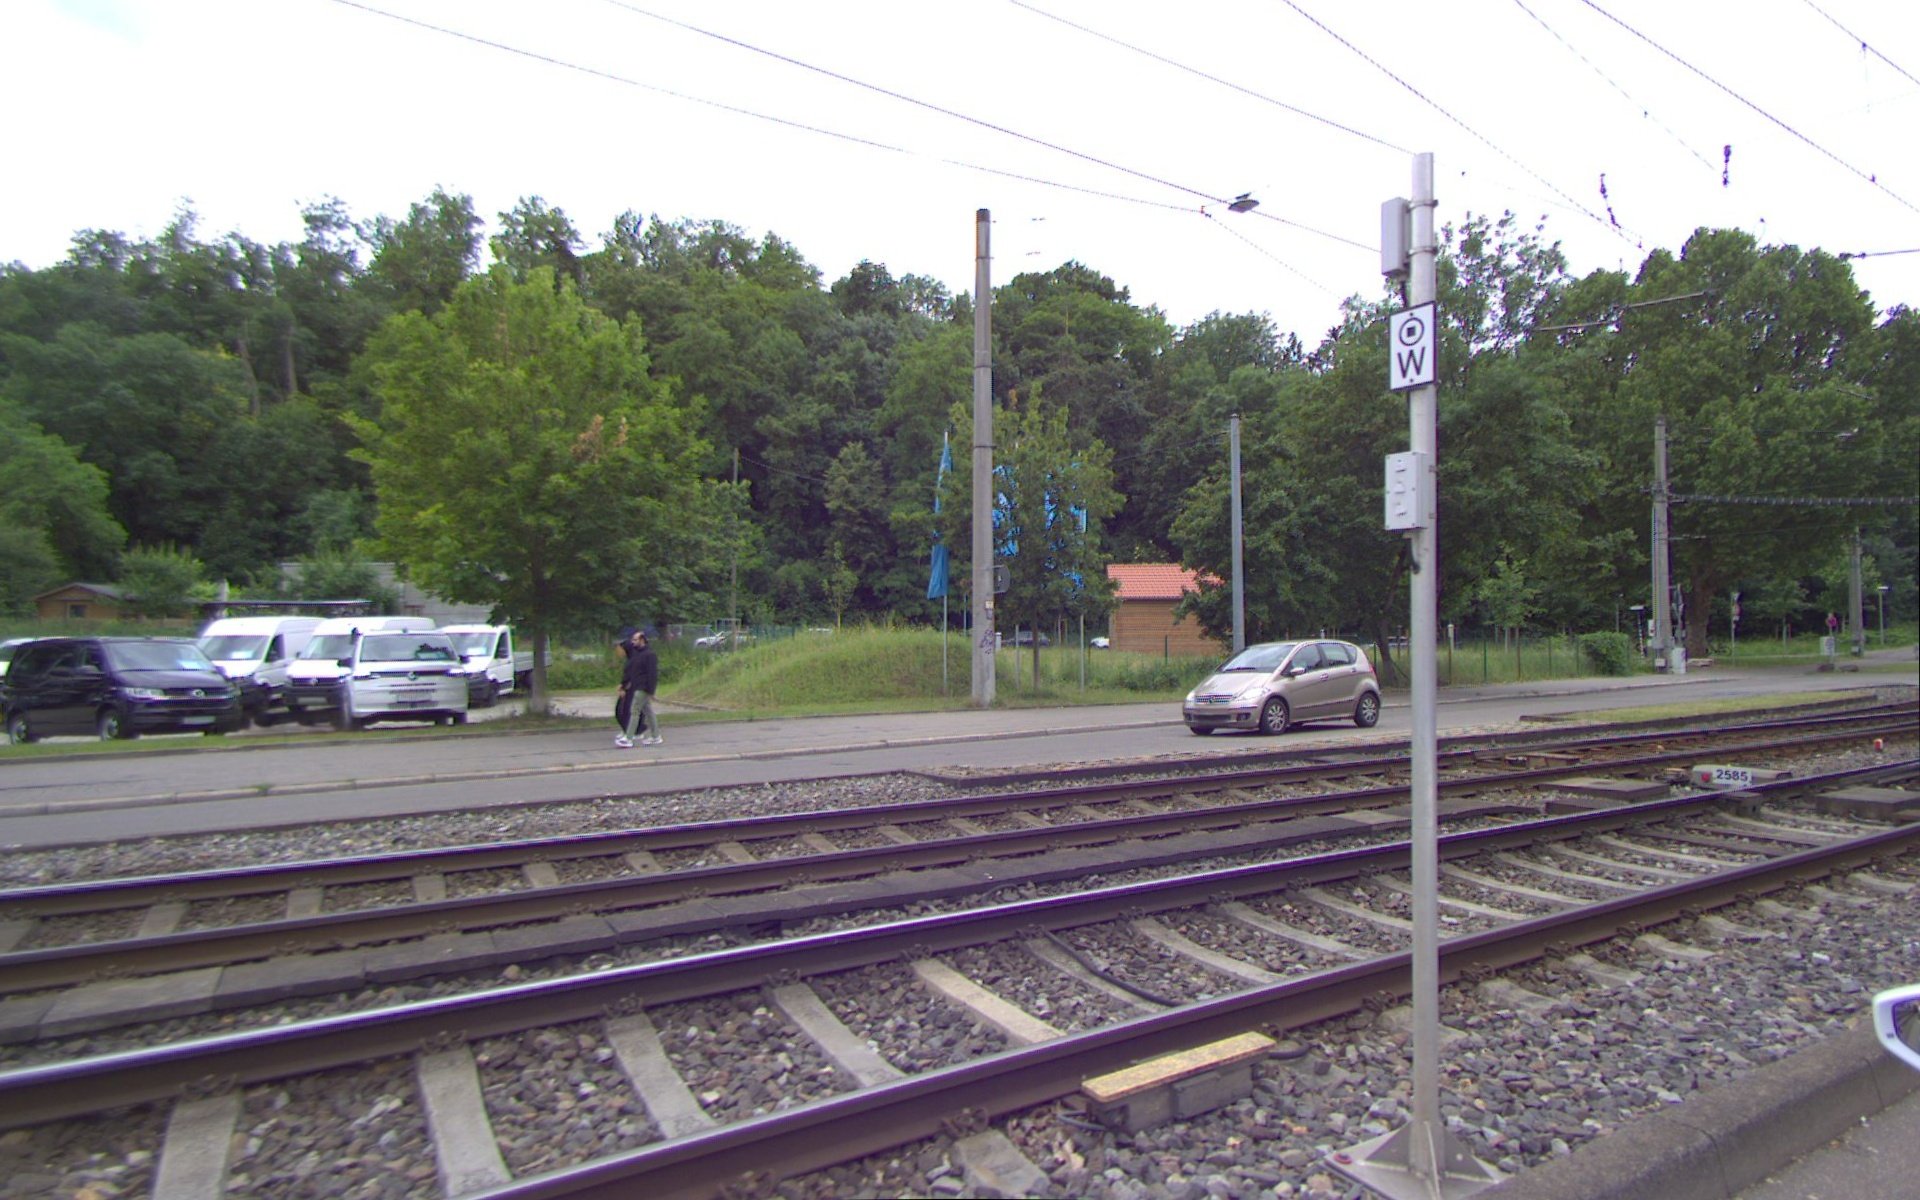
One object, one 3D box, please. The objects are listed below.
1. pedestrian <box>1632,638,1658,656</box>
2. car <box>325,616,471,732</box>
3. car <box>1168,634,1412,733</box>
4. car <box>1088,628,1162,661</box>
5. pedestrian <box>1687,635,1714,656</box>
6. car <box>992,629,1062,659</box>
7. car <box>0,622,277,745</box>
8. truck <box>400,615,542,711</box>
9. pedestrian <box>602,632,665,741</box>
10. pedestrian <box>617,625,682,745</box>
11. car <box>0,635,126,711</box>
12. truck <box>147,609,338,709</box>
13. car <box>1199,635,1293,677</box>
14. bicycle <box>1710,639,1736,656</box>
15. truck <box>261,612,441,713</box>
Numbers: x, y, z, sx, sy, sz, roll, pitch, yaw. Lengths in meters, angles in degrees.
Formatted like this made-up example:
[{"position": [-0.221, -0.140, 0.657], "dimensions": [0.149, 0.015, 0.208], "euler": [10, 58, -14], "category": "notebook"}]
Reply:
[{"position": [44.415, 3.028, 65.157], "dimensions": [1.059, 1.110, 0.906], "euler": [2, -1, 8], "category": "pedestrian"}, {"position": [-10.764, 1.326, 19.339], "dimensions": [2.140, 1.912, 5.034], "euler": [1, -3, -29], "category": "car"}, {"position": [5.888, 1.442, 17.777], "dimensions": [4.213, 1.551, 1.880], "euler": [1, -6, -35], "category": "car"}, {"position": [10.451, 2.829, 63.667], "dimensions": [4.318, 2.040, 2.000], "euler": [0, -2, -3], "category": "car"}, {"position": [48.409, 2.962, 65.677], "dimensions": [1.035, 1.284, 1.117], "euler": [2, -1, 10], "category": "pedestrian"}, {"position": [3.802, 2.513, 57.383], "dimensions": [3.920, 1.683, 2.001], "euler": [0, -2, 2], "category": "car"}, {"position": [-15.462, 1.486, 18.549], "dimensions": [4.972, 2.040, 2.167], "euler": [-1, -3, 19], "category": "car"}, {"position": [-14.428, 1.840, 30.032], "dimensions": [2.424, 2.621, 5.066], "euler": [0, -3, -9], "category": "truck"}, {"position": [-5.372, 1.394, 16.530], "dimensions": [0.846, 1.736, 0.625], "euler": [1, -1, -32], "category": "pedestrian"}, {"position": [-4.954, 1.321, 16.011], "dimensions": [0.846, 1.837, 0.673], "euler": [1, -1, -32], "category": "pedestrian"}, {"position": [-26.250, 2.057, 28.876], "dimensions": [1.949, 2.040, 4.252], "euler": [0, -3, -17], "category": "car"}, {"position": [-20.480, 1.676, 29.042], "dimensions": [2.424, 2.621, 5.066], "euler": [0, -3, -9], "category": "truck"}, {"position": [12.833, 2.492, 45.003], "dimensions": [3.958, 1.772, 1.982], "euler": [2, -3, -34], "category": "car"}, {"position": [49.656, 3.081, 65.363], "dimensions": [0.662, 1.025, 1.654], "euler": [2, -1, 10], "category": "bicycle"}, {"position": [-17.391, 1.756, 29.145], "dimensions": [2.424, 2.621, 5.771], "euler": [0, -3, -9], "category": "truck"}]
